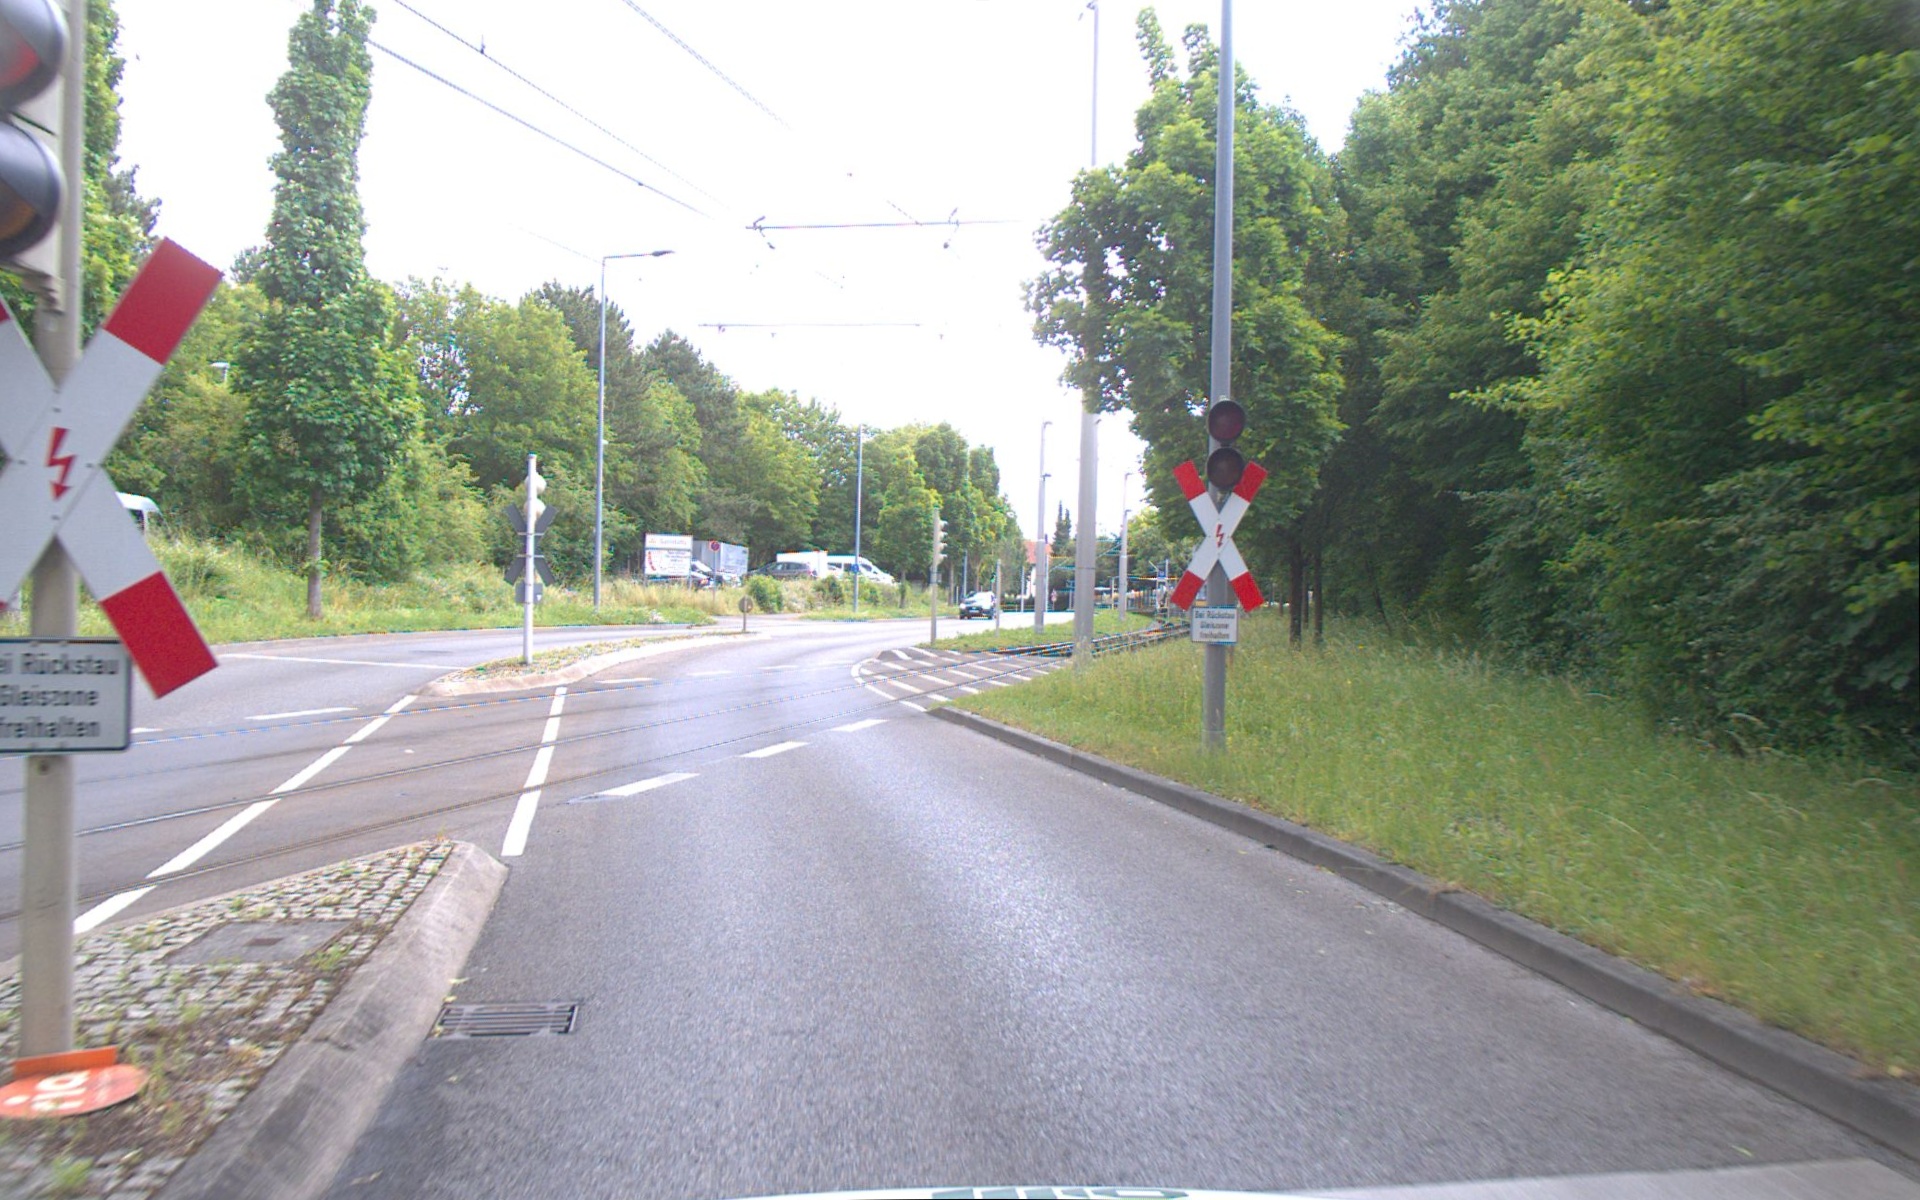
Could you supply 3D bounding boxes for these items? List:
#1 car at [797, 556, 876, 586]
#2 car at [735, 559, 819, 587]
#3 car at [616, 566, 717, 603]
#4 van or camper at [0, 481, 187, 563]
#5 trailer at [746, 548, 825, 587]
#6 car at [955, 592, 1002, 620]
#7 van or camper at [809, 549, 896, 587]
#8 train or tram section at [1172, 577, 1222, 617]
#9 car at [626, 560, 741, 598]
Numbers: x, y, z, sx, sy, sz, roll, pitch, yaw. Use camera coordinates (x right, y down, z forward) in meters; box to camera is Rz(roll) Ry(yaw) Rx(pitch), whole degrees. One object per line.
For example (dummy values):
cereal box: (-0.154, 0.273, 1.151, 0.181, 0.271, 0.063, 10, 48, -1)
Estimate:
car: (-7.768, -1.810, 104.322, 4.544, 1.685, 2.001, 2, 0, 16)
car: (-9.887, -1.444, 89.519, 4.220, 1.474, 1.837, 0, 0, 5)
car: (-12.779, -0.679, 72.133, 3.871, 1.421, 2.001, 2, 1, 6)
van or camper: (-22.633, -1.995, 43.350, 1.951, 1.910, 4.634, 2, 1, 10)
trailer: (-9.754, -1.810, 92.582, 3.902, 2.048, 1.910, 2, 1, 11)
car: (1.026, 0.308, 89.296, 1.951, 1.463, 4.430, 0, 1, 9)
van or camper: (-6.932, -2.049, 106.759, 5.220, 2.241, 2.002, 2, 1, 8)
train or tram section: (23.069, -0.378, 162.617, 2.944, 3.368, 34.733, 2, 1, 5)
car: (-12.903, -0.966, 77.277, 4.821, 1.612, 2.209, 2, 0, 7)
